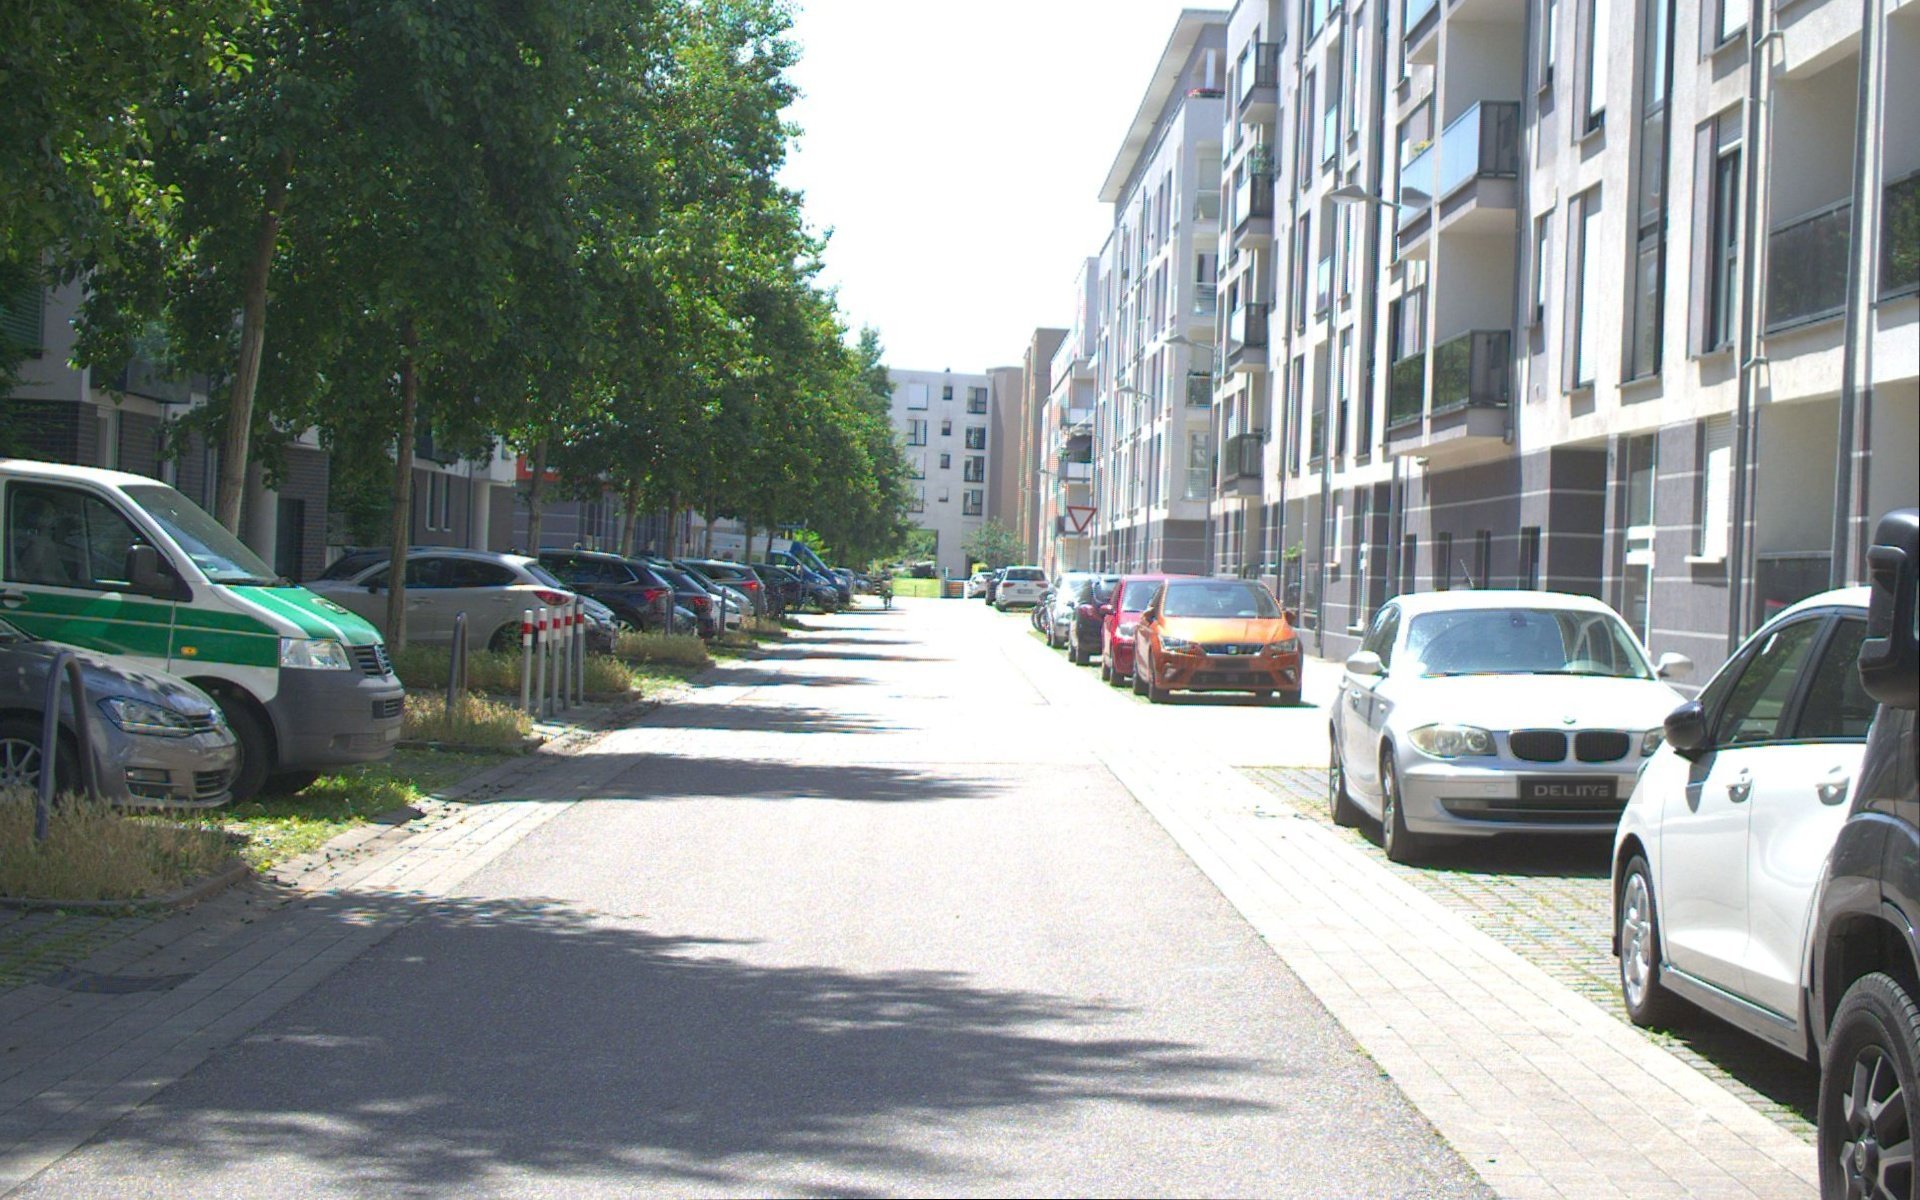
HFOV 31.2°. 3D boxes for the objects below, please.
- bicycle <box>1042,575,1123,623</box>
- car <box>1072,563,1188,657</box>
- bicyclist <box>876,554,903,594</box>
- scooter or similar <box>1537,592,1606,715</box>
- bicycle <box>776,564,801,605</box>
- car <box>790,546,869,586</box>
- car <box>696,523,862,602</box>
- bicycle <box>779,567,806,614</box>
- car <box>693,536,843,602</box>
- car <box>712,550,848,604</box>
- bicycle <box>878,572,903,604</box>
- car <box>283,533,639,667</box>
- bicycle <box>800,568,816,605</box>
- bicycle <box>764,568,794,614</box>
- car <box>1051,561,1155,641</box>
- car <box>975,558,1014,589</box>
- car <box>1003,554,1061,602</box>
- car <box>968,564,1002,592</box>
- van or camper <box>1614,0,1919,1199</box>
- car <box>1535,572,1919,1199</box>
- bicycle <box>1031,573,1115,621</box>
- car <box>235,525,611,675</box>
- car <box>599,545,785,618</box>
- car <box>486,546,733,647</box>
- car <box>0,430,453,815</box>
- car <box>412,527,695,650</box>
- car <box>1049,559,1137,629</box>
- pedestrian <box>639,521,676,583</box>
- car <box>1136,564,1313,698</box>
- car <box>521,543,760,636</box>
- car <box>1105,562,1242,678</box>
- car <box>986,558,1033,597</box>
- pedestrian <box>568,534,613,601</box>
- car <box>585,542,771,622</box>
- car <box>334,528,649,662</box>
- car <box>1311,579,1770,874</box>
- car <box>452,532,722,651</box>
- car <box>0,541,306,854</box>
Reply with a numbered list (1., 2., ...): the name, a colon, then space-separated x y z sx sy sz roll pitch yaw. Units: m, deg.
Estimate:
1. bicycle: 2.848 -0.022 80.066 1.786 1.100 0.747 1 0 -4
2. car: 2.732 0.131 55.966 1.642 1.457 4.118 0 1 -1
3. bicyclist: -2.600 -0.966 126.772 0.954 1.454 0.800 1 1 -1
4. scooter or similar: 6.384 0.544 35.855 0.546 1.221 1.528 3 1 15
5. bicycle: -5.286 -0.488 105.826 0.570 1.170 1.769 5 2 -7
6. car: -7.101 -1.855 187.406 3.988 2.007 2.000 2 1 6
7. car: -6.753 -1.393 128.563 6.024 2.807 2.605 1 1 0
8. bicycle: -4.251 -0.248 87.339 0.371 1.176 1.821 1 1 -12
9. car: -6.856 -1.129 123.134 5.145 2.112 2.312 3 1 0
10. car: -6.058 -0.779 115.948 4.383 1.509 2.075 4 1 0
11. bicycle: -2.555 -0.459 126.767 0.898 1.125 2.040 1 1 -1
12. car: -6.452 -0.013 44.773 4.316 1.471 1.793 3 1 0
13. bicycle: -4.698 -0.420 106.044 0.466 1.138 1.926 1 1 -2
14. bicycle: -4.613 -0.228 87.313 0.433 1.124 1.979 1 1 -12
15. car: 2.777 0.000 67.354 1.834 1.499 4.351 0 1 0
16. car: 1.907 -1.498 191.780 1.993 1.669 4.000 2 1 -1
17. car: 2.551 -0.797 123.115 1.997 1.651 4.115 1 1 0
18. car: 1.596 -1.406 219.012 1.993 1.711 4.000 2 1 -1
19. van or camper: 2.914 0.097 4.181 2.438 2.896 7.827 3 0 -1
20. car: 3.098 0.678 10.476 1.807 1.499 4.261 0 1 -2
21. bicycle: 2.706 -0.070 82.372 1.924 1.129 0.609 1 0 9
22. car: -6.563 -0.012 42.327 4.252 1.512 1.925 4 1 -1
23. car: -6.210 -0.409 79.906 4.180 1.481 1.959 3 -1 -4
24. car: -5.814 -0.068 57.414 3.973 1.440 1.776 3 0 -4
25. car: -5.890 0.072 20.422 5.342 2.103 2.187 2 1 2
26. car: -6.139 -0.183 52.243 3.987 1.624 1.933 3 1 0
27. car: 2.909 -0.155 75.672 1.739 1.480 4.229 1 1 0
28. pedestrian: -9.873 -1.565 112.128 1.009 2.007 1.129 1 1 3
29. car: 3.072 0.330 40.661 1.737 1.482 4.259 0 1 0
30. car: -5.954 -0.213 64.429 4.360 1.704 2.000 0 1 -2
31. car: 2.832 0.235 46.196 1.595 1.480 3.676 0 1 0
32. car: 2.083 -0.934 143.227 1.758 1.547 4.000 2 1 3
33. pedestrian: -9.528 -0.843 88.624 1.000 1.684 0.832 1 1 2
34. car: -6.289 -0.409 77.010 3.937 1.548 1.872 3 1 -1
35. car: -6.410 -0.083 47.334 3.987 1.586 1.884 3 1 1
36. car: 3.144 0.620 19.490 1.845 1.411 4.426 2 0 1
37. car: -5.907 -0.142 54.768 3.987 1.645 1.918 3 1 2
38. car: -5.741 0.421 17.584 4.420 1.484 2.000 2 1 -2
